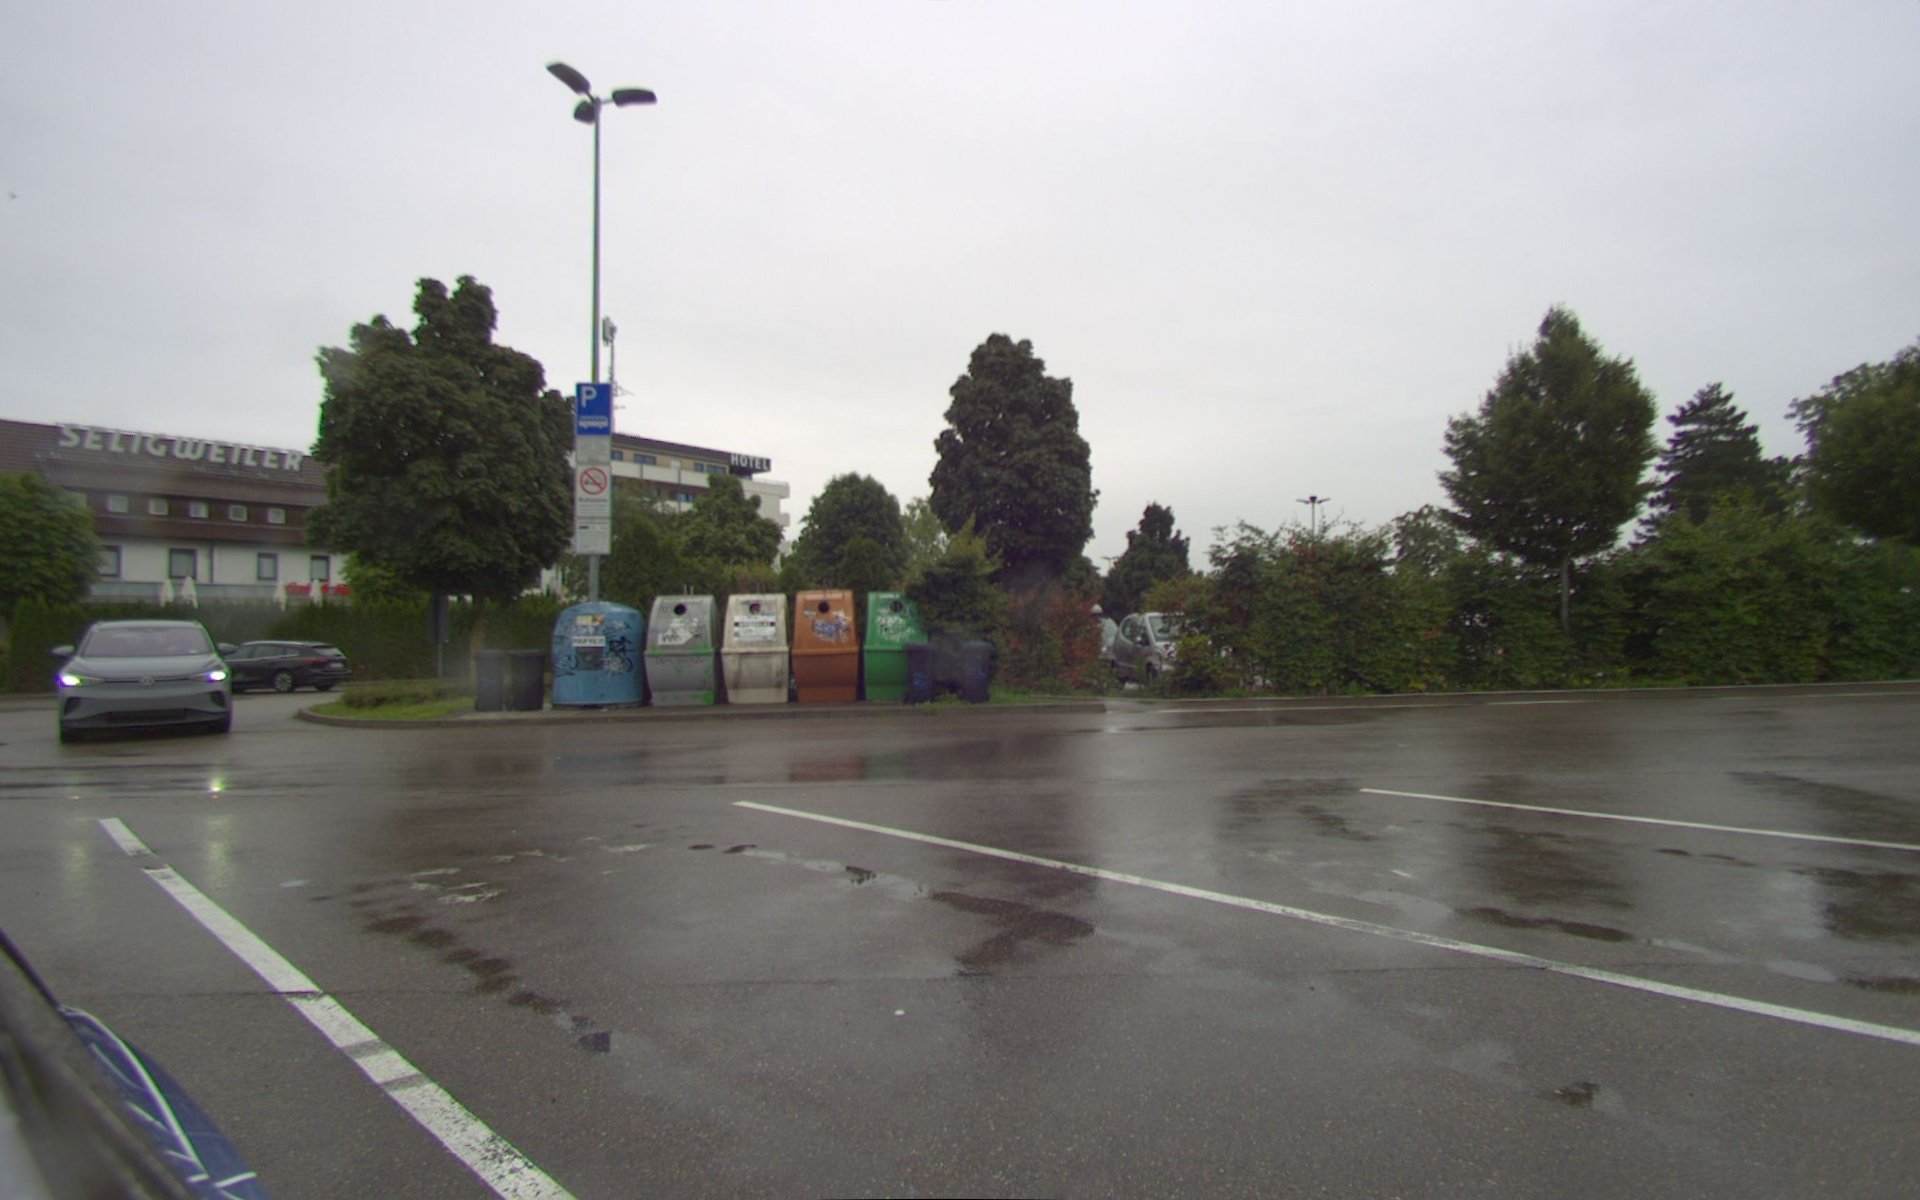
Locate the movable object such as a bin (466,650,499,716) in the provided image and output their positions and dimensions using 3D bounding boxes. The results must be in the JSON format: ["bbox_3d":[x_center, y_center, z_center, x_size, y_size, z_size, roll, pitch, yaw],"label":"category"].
[{"bbox_3d":[-7.193,1.238,15.251,0.427,0.956,0.474,-1,-1,-25],"label":"movable object such as a bin"}]

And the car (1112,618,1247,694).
[{"bbox_3d":[4.143,1.018,19.675,1.782,1.278,3.647,-1,-1,0],"label":"car"}]

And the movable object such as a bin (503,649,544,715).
[{"bbox_3d":[-6.558,1.223,15.217,0.450,0.956,0.400,-2,-1,41],"label":"movable object such as a bin"}]

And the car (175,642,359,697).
[{"bbox_3d":[-19.978,1.998,29.277,4.279,1.460,1.865,-2,-3,8],"label":"car"}]

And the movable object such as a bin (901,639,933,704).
[{"bbox_3d":[-0.634,1.048,15.009,0.432,0.930,0.508,-2,-2,1],"label":"movable object such as a bin"}]

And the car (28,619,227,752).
[{"bbox_3d":[-11.933,1.112,14.787,1.967,1.586,4.510,0,-1,-36],"label":"car"}]

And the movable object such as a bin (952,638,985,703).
[{"bbox_3d":[0.117,1.019,14.742,0.432,0.923,0.509,-2,-2,-1],"label":"movable object such as a bin"}]
